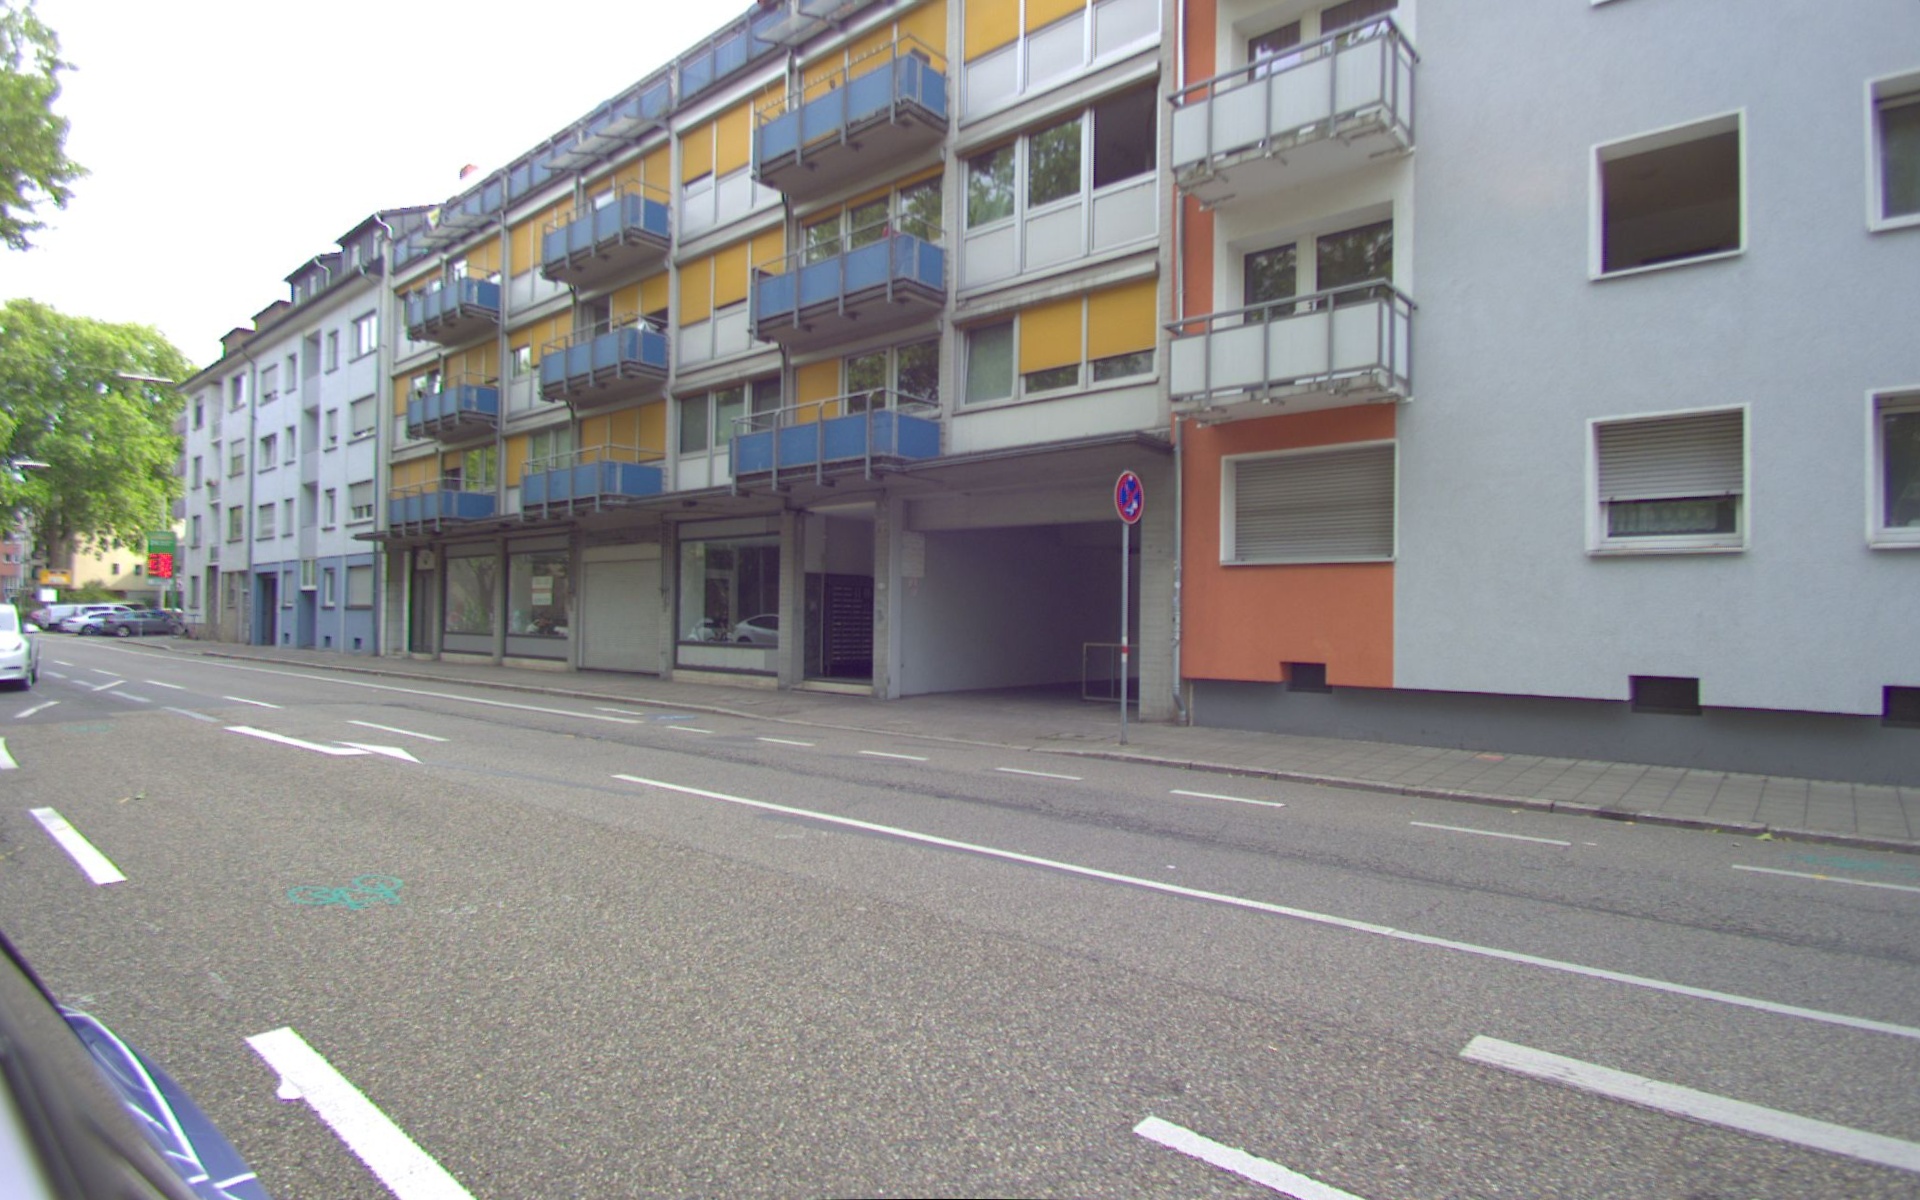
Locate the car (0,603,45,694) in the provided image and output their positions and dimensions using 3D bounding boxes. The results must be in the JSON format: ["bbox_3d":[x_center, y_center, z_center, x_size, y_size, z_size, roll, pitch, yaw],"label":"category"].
[{"bbox_3d":[-18.491,0.868,18.805,1.968,1.564,4.529,-1,0,-39],"label":"car"}]

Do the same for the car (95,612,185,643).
[{"bbox_3d":[-47.859,1.570,59.098,1.881,1.701,3.821,-1,0,41],"label":"car"}]

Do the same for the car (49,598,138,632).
[{"bbox_3d":[-54.030,0.890,63.157,1.999,2.029,3.946,-1,0,41],"label":"car"}]

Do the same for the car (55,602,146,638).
[{"bbox_3d":[-51.996,1.184,61.275,1.999,2.029,3.946,-1,0,41],"label":"car"}]

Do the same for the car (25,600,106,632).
[{"bbox_3d":[-61.100,1.071,69.164,1.999,2.029,3.946,-1,0,41],"label":"car"}]
